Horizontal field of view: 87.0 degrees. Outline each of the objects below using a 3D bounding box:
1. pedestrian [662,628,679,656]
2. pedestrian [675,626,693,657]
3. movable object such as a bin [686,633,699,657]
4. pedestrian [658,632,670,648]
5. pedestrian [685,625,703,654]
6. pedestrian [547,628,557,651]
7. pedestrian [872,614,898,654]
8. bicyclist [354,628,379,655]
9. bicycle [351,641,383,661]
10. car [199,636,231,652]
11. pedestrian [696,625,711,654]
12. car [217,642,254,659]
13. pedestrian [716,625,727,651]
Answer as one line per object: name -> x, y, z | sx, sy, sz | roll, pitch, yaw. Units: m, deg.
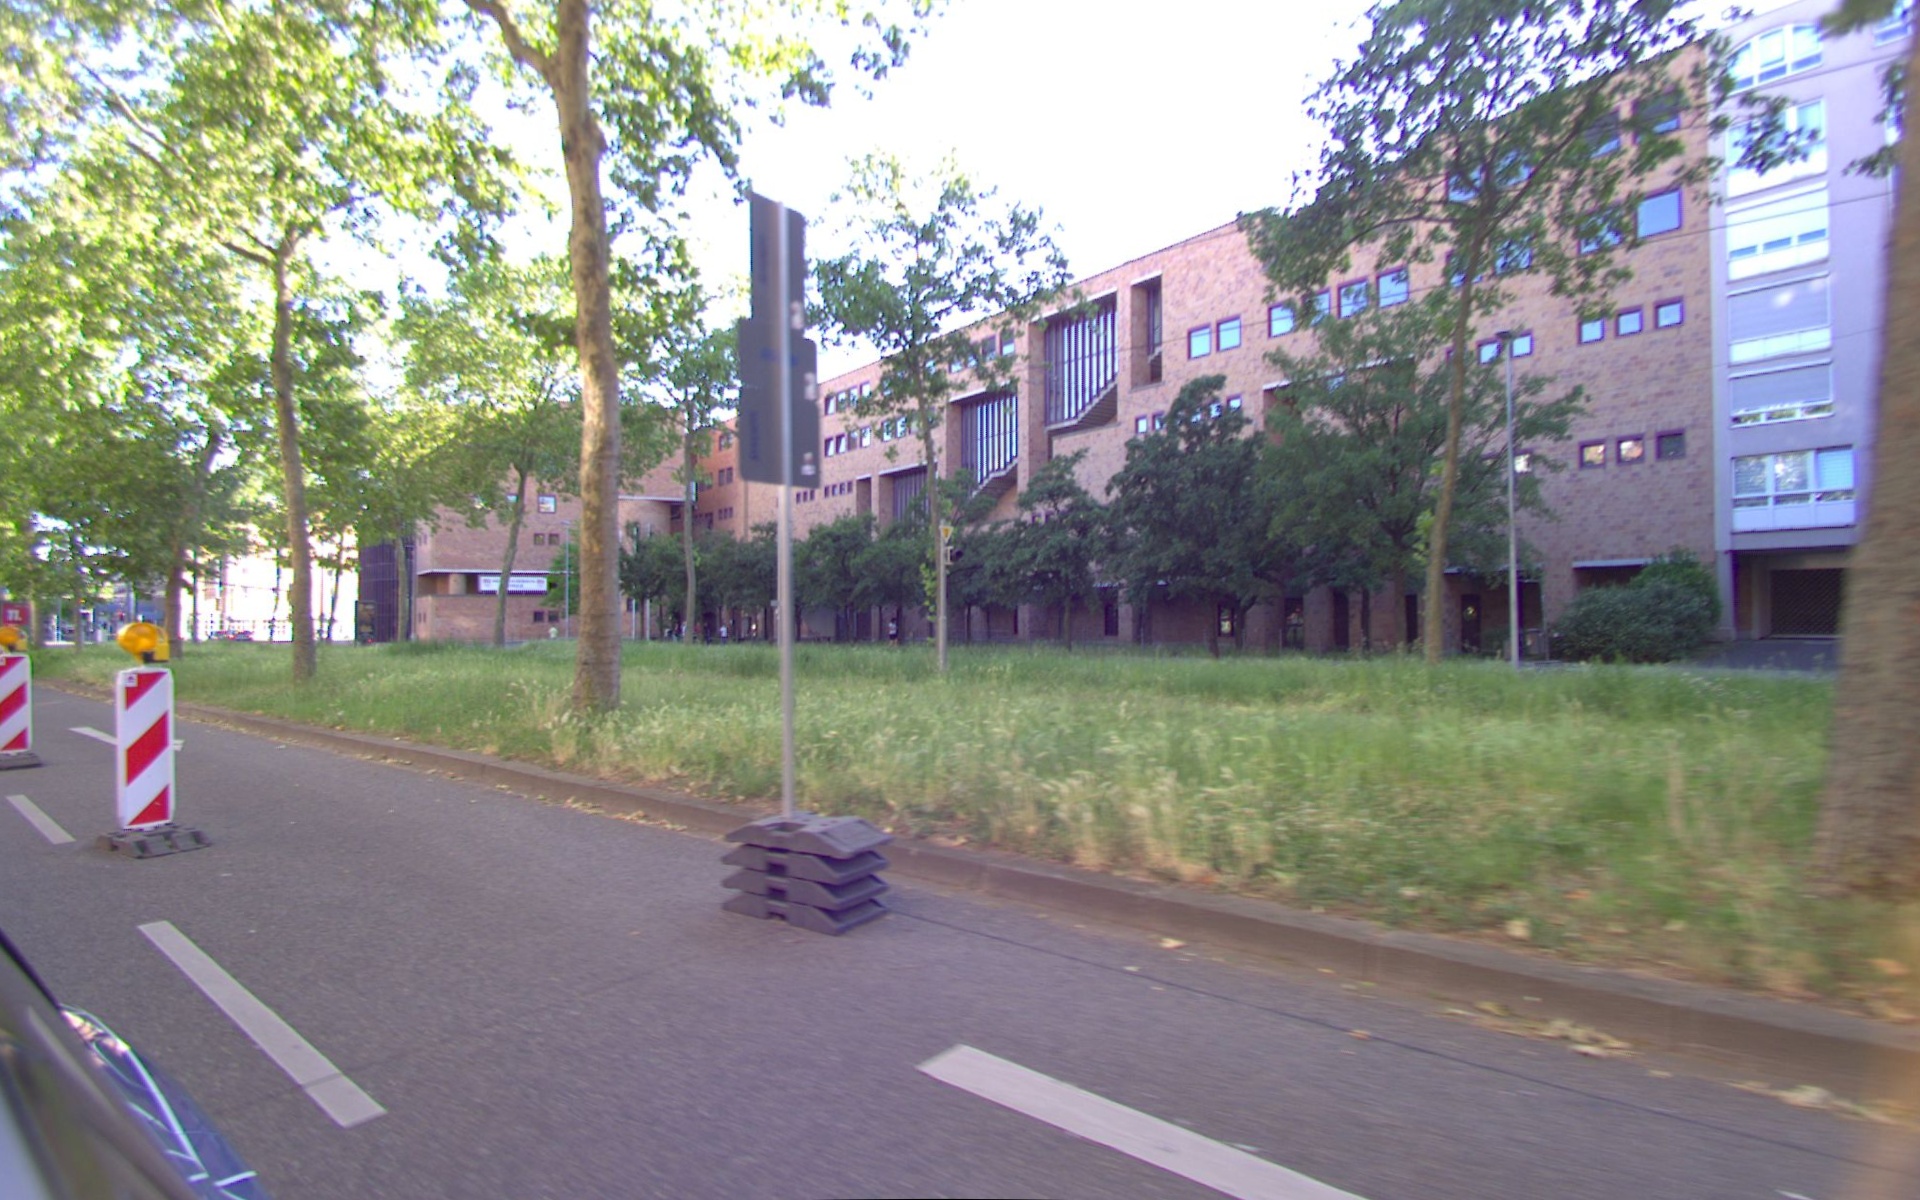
pedestrian -> -16.728, 2.414, 58.501 | 0.756, 1.629, 0.657 | -2, -2, 41
pedestrian -> -15.615, 2.328, 57.326 | 0.796, 1.735, 0.657 | -2, -2, 41
movable object such as a bin -> -15.009, 2.526, 56.813 | 0.756, 1.289, 0.352 | -2, -2, 42
pedestrian -> -23.428, 3.167, 80.139 | 0.628, 1.207, 0.658 | -2, -2, 32
pedestrian -> -15.211, 2.245, 57.892 | 0.756, 1.629, 0.657 | -2, -2, 41
pedestrian -> -27.918, 2.717, 69.248 | 0.652, 1.555, 0.412 | -2, -2, 40
pedestrian -> -3.501, 1.564, 47.076 | 0.901, 1.845, 0.815 | -2, -2, 43
bicyclist -> -35.432, 2.481, 60.407 | 1.209, 1.583, 0.931 | -2, -2, 42
bicycle -> -35.340, 3.014, 60.298 | 2.436, 1.134, 0.946 | -1, -2, 43
car -> -67.257, 3.955, 91.354 | 3.220, 1.440, 1.596 | -2, -2, 41
pedestrian -> -14.738, 2.278, 58.245 | 0.596, 1.692, 0.604 | -2, -2, 41
car -> -62.439, 4.344, 87.197 | 4.147, 1.440, 1.653 | -2, -2, 41
pedestrian -> -13.782, 2.188, 58.477 | 0.463, 1.517, 0.477 | -2, -2, 44
